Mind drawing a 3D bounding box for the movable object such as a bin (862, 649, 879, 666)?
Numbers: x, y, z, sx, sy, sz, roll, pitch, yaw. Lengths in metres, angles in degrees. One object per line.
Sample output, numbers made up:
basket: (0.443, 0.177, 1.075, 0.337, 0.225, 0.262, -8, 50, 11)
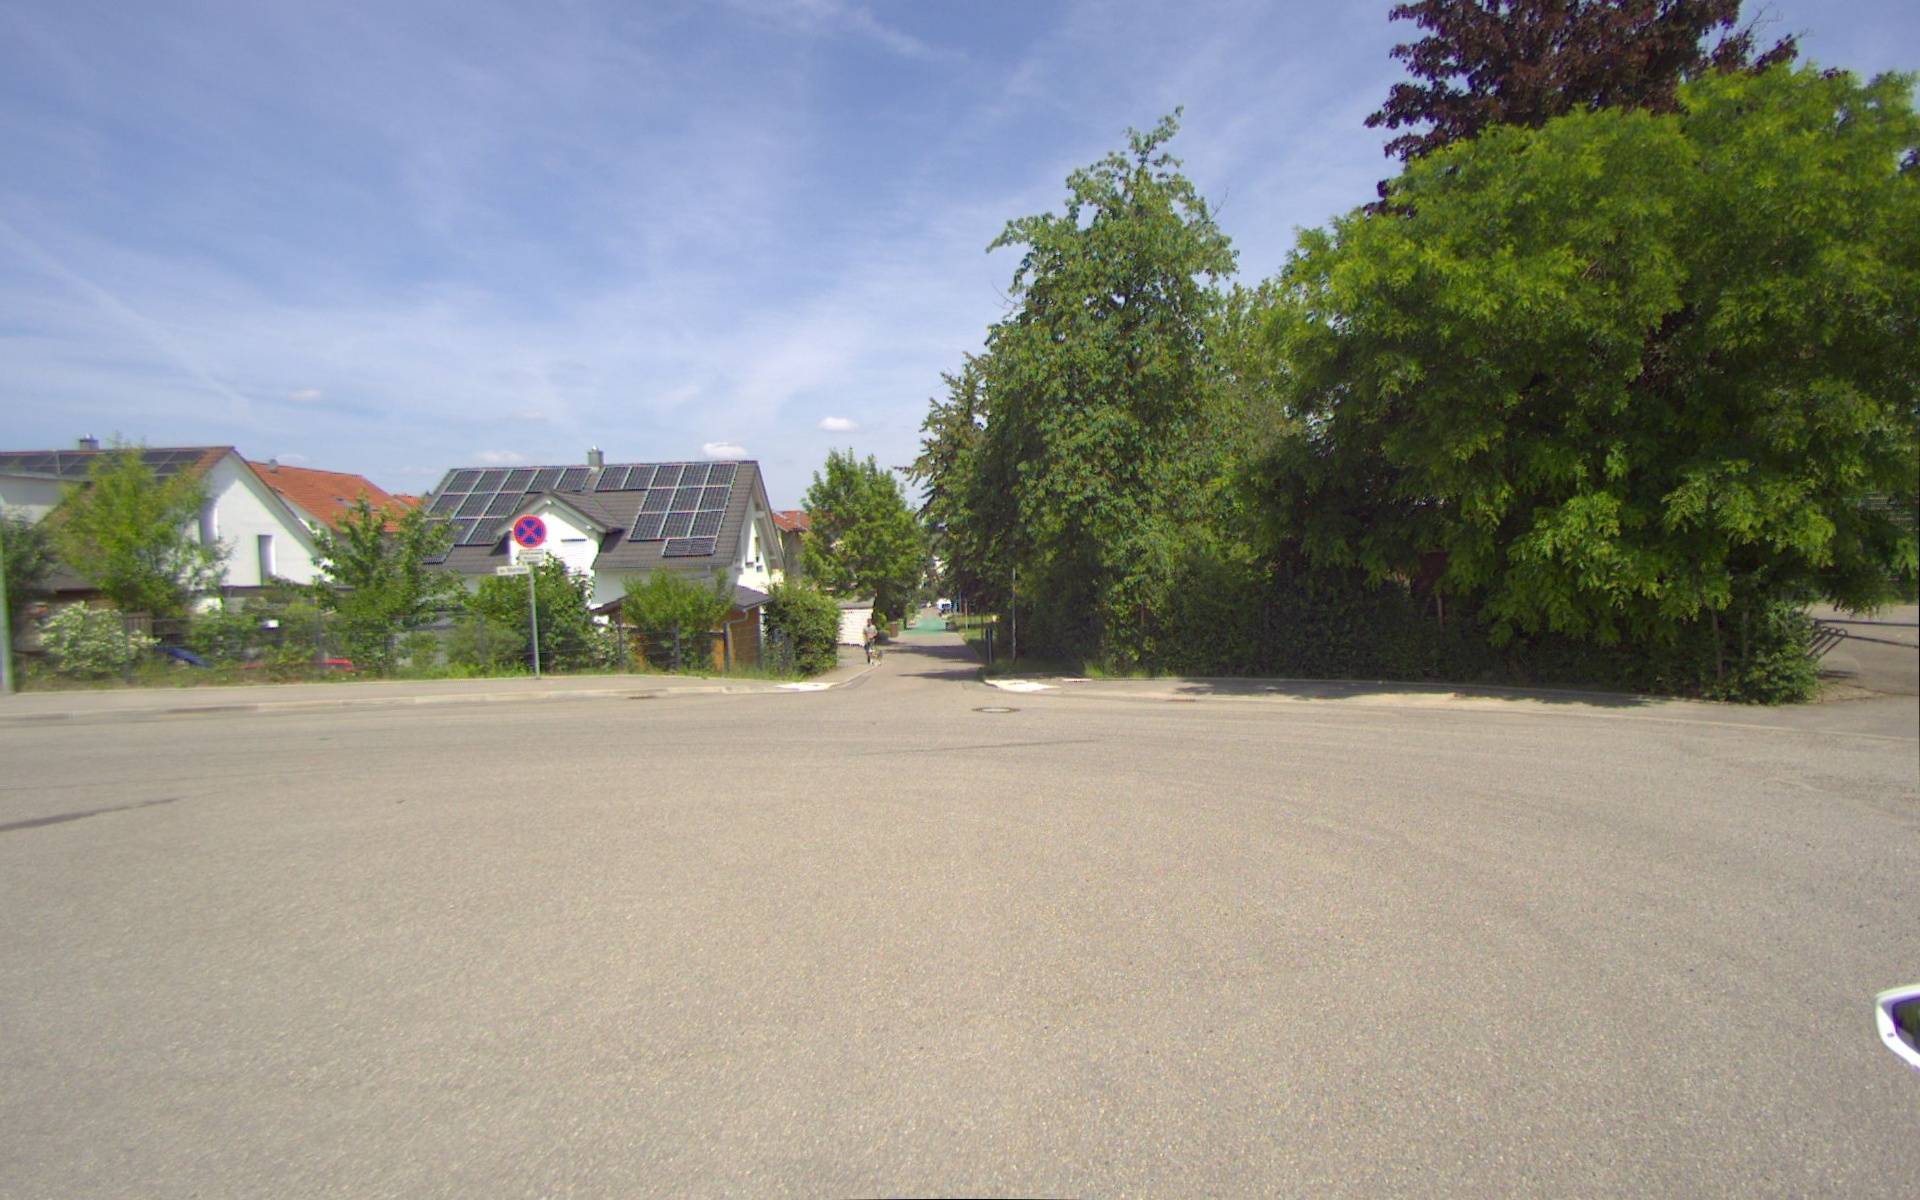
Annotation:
movable object such as a bin: (-3.469, 2.237, 38.977, 0.539, 0.637, 1.021, 0, -3, -1)

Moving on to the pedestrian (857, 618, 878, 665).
pedestrian: (-3.735, 1.680, 40.521, 0.833, 1.843, 0.834, -1, -4, -7)

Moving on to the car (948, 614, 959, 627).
car: (-1.144, 3.454, 168.267, 1.703, 2.040, 4.000, 0, -1, -1)
